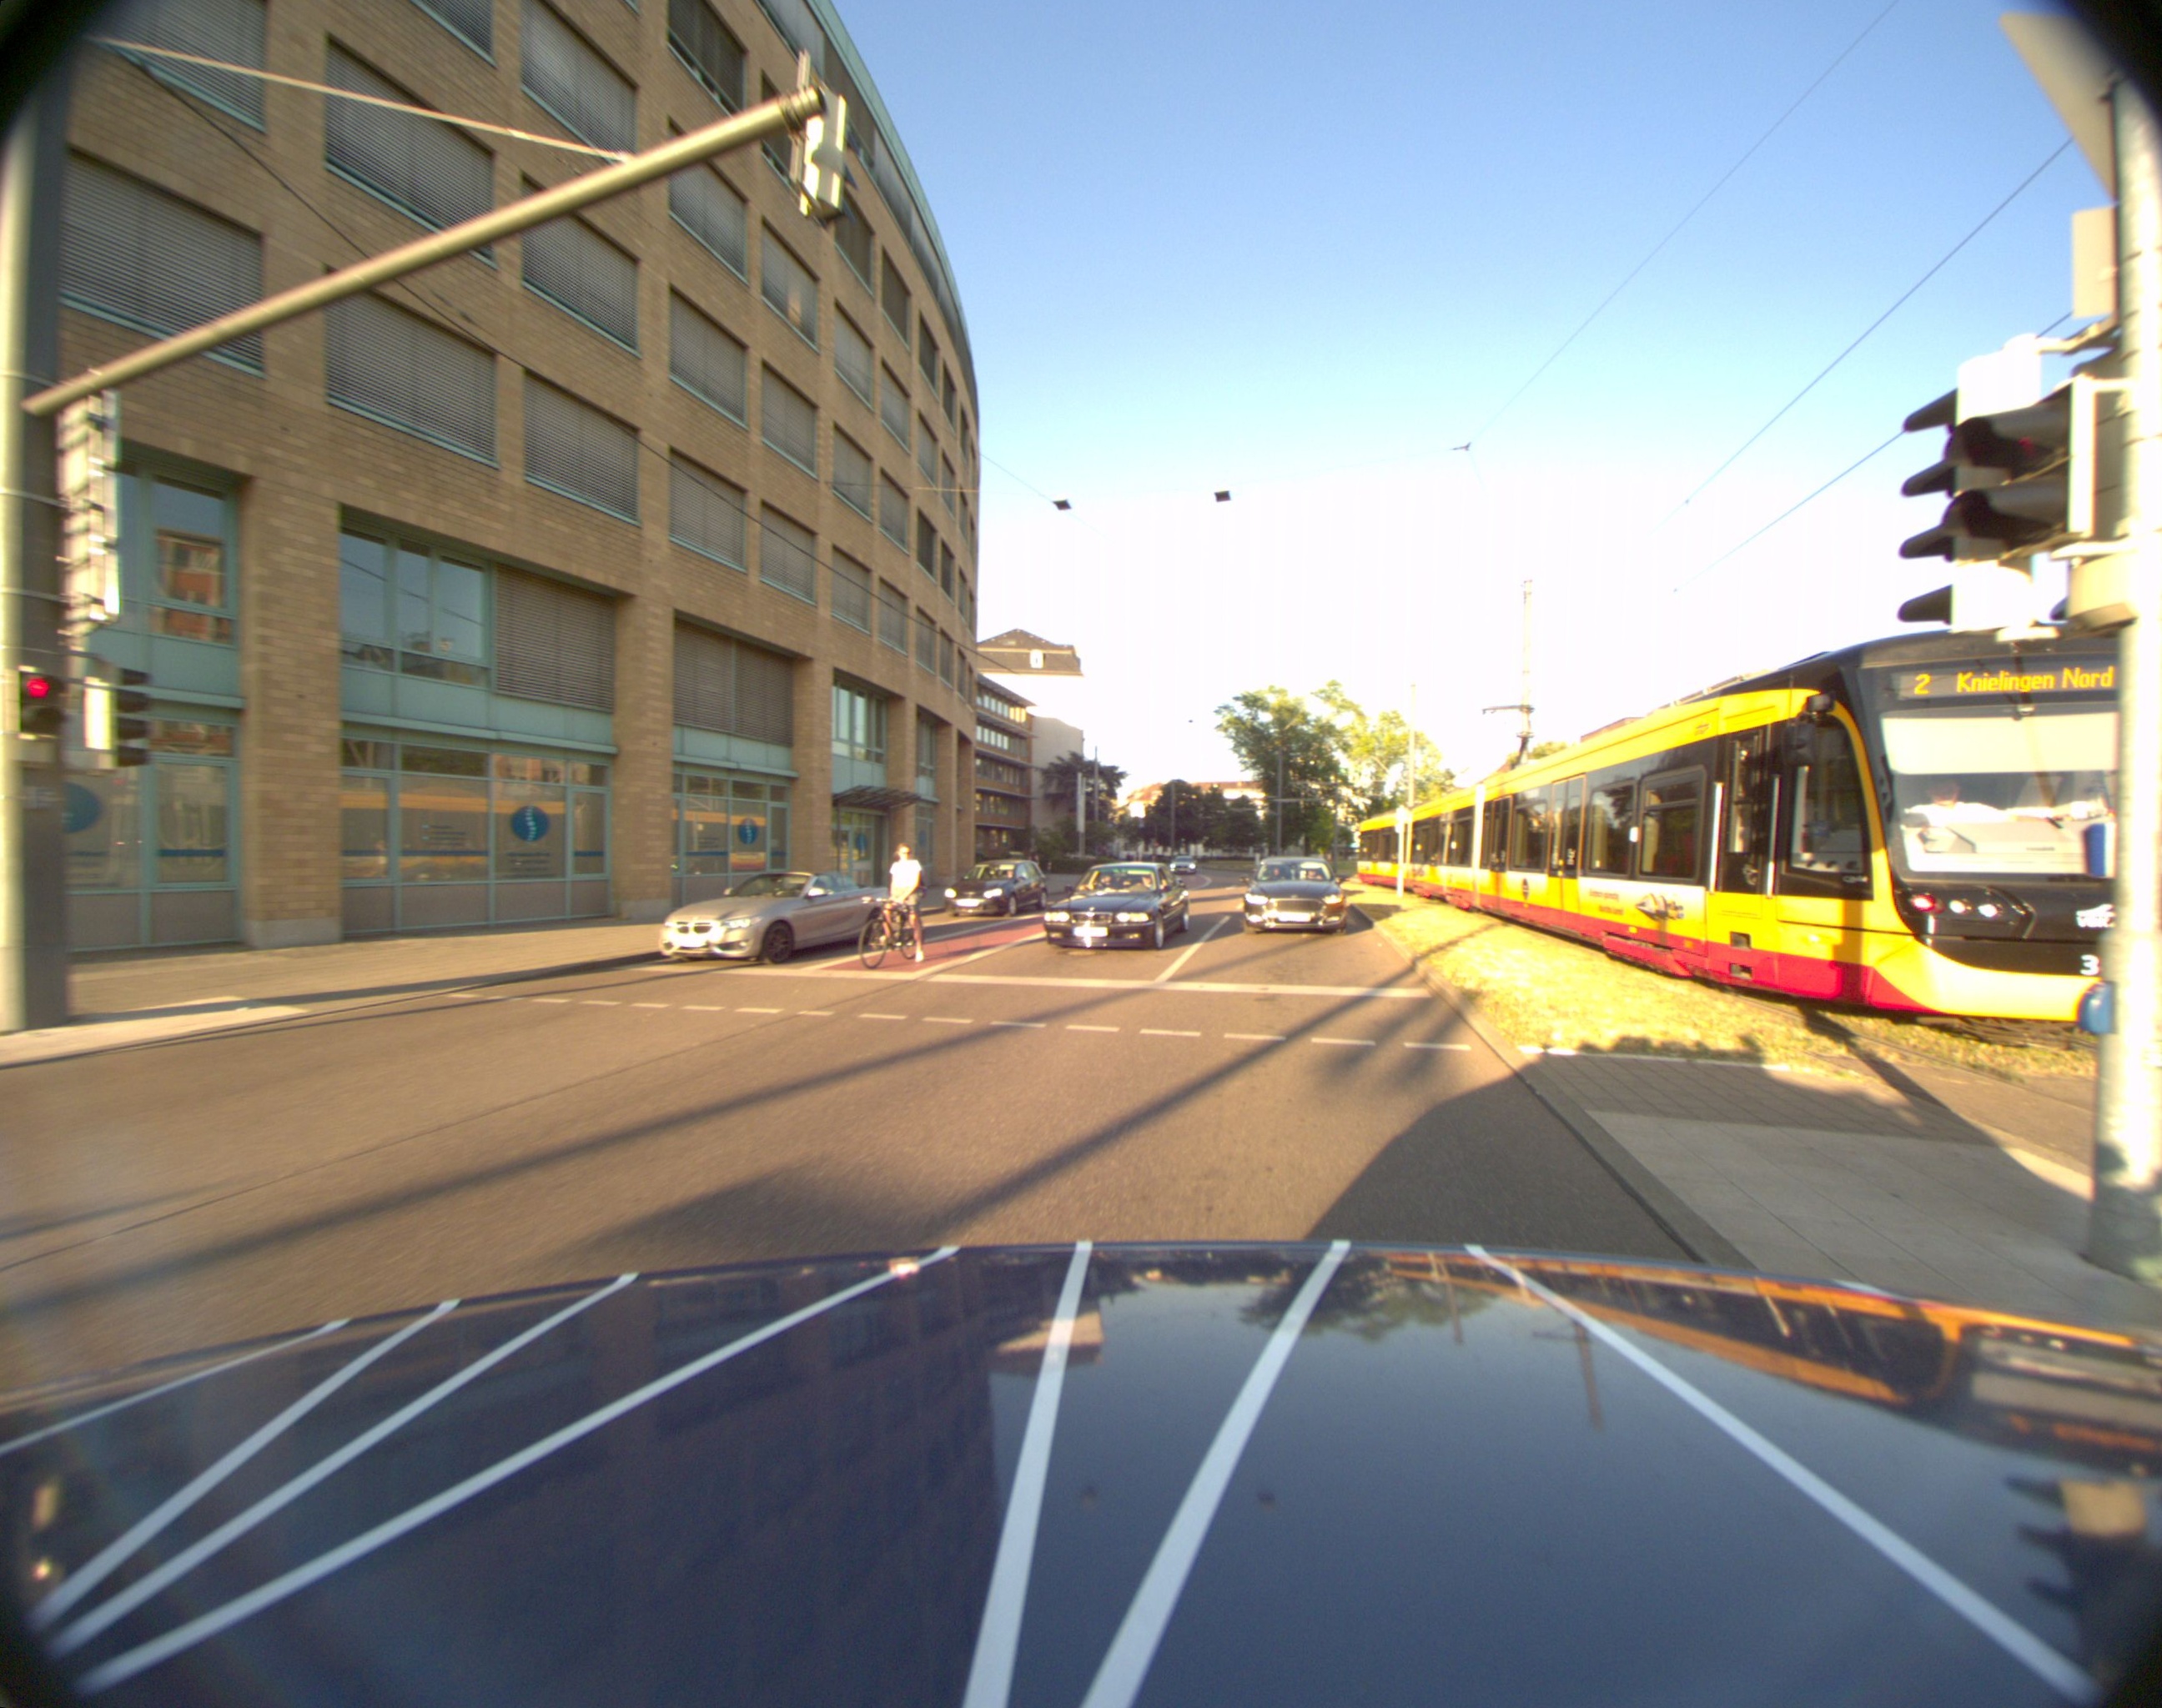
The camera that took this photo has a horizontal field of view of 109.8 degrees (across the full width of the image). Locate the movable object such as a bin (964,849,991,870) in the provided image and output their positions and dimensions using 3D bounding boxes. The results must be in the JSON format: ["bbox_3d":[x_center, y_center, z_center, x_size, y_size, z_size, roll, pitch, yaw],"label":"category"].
[{"bbox_3d":[-7.220,0.363,53.122,1.425,1.450,1.334,1,1,14],"label":"movable object such as a bin"}]

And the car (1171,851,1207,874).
[{"bbox_3d":[8.627,0.632,60.589,1.995,1.740,4.006,1,1,21],"label":"car"}]

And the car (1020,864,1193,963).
[{"bbox_3d":[0.691,0.918,13.714,1.996,1.377,4.745,0,0,16],"label":"car"}]

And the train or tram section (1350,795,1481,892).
[{"bbox_3d":[14.949,-0.448,35.181,2.910,3.717,12.201,0,0,11],"label":"train or tram section"}]

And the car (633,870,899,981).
[{"bbox_3d":[-4.887,1.009,12.537,1.745,1.377,4.232,0,0,17],"label":"car"}]

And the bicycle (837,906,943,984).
[{"bbox_3d":[-2.676,1.249,10.870,0.634,0.868,1.872,1,0,15],"label":"bicycle"}]

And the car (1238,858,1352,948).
[{"bbox_3d":[4.386,0.854,15.527,1.888,1.477,4.731,1,0,16],"label":"car"}]

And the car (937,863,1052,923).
[{"bbox_3d":[-2.218,0.983,20.619,1.756,1.379,4.004,0,0,15],"label":"car"}]

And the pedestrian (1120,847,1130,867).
[{"bbox_3d":[3.887,0.263,67.141,0.727,1.797,0.725,0,1,16],"label":"pedestrian"}]

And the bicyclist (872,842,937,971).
[{"bbox_3d":[-2.577,0.738,11.162,0.634,1.810,0.778,1,1,15],"label":"bicyclist"}]

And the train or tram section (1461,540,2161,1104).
[{"bbox_3d":[8.773,-0.241,11.426,2.912,3.717,13.233,0,1,15],"label":"train or tram section"}]

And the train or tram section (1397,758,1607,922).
[{"bbox_3d":[12.150,-0.365,23.500,2.881,3.717,12.197,0,1,15],"label":"train or tram section"}]

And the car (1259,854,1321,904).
[{"bbox_3d":[7.350,0.804,26.536,1.894,1.526,4.711,1,1,16],"label":"car"}]

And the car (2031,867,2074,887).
[{"bbox_3d":[99.760,2.311,78.056,1.994,1.867,3.912,1,1,42],"label":"car"}]

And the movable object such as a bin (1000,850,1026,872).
[{"bbox_3d":[-4.592,0.448,51.769,1.425,1.450,1.334,1,1,12],"label":"movable object such as a bin"}]

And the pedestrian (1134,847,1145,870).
[{"bbox_3d":[4.926,0.363,63.792,0.910,1.883,1.127,0,1,5],"label":"pedestrian"}]

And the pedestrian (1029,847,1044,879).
[{"bbox_3d":[-2.330,0.448,39.662,0.627,1.672,0.714,1,1,12],"label":"pedestrian"}]
